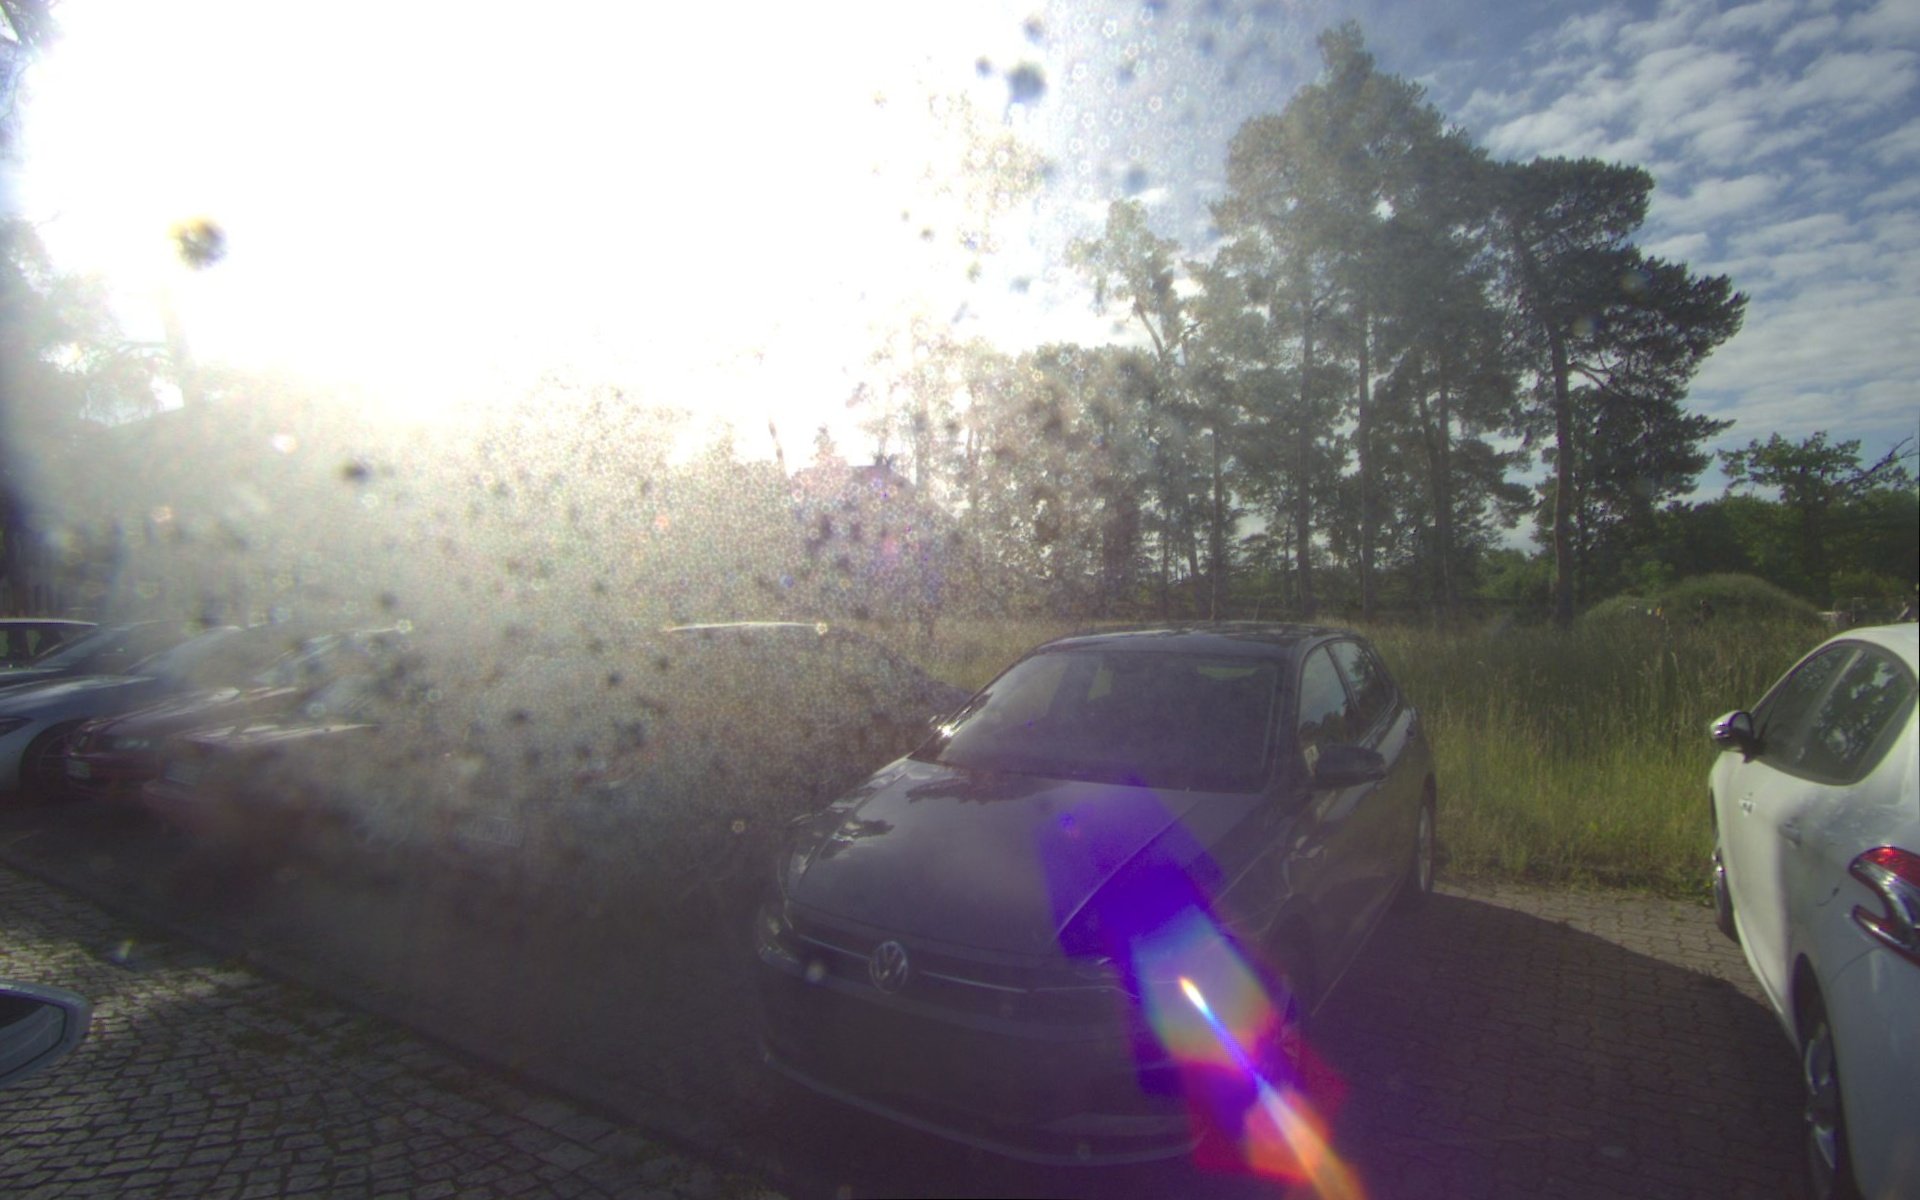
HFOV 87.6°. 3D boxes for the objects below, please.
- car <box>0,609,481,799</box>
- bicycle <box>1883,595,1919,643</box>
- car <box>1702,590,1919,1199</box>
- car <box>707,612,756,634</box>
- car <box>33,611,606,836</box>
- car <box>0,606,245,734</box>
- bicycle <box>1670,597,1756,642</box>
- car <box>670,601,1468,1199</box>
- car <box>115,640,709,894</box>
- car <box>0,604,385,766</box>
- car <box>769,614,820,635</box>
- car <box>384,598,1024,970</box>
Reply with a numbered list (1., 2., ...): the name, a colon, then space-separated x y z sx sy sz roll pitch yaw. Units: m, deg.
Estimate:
1. car: -7.337 0.846 9.949 1.763 1.407 4.390 0 1 31
2. bicycle: 41.266 0.770 42.370 3.087 2.039 0.949 -2 -1 32
3. car: 3.380 0.739 3.007 1.611 1.511 3.636 0 0 33
4. car: -18.241 1.813 80.120 1.743 1.693 3.625 0 -1 35
5. car: -5.327 0.862 8.889 1.632 1.468 3.971 0 0 32
6. car: -11.670 0.850 12.872 1.642 1.462 3.664 0 1 33
7. bicycle: 35.402 0.940 47.159 3.087 2.039 0.949 -2 -1 32
8. car: 0.884 0.770 4.153 1.733 1.470 3.770 0 1 34
9. car: -3.624 0.959 7.179 1.515 1.258 3.453 0 -1 33
10. car: -9.512 0.863 11.615 1.842 1.475 4.610 0 2 30
11. car: -12.428 1.803 75.434 1.743 1.517 3.625 0 -1 35
12. car: -1.215 0.770 6.136 1.643 1.474 3.654 0 1 33
